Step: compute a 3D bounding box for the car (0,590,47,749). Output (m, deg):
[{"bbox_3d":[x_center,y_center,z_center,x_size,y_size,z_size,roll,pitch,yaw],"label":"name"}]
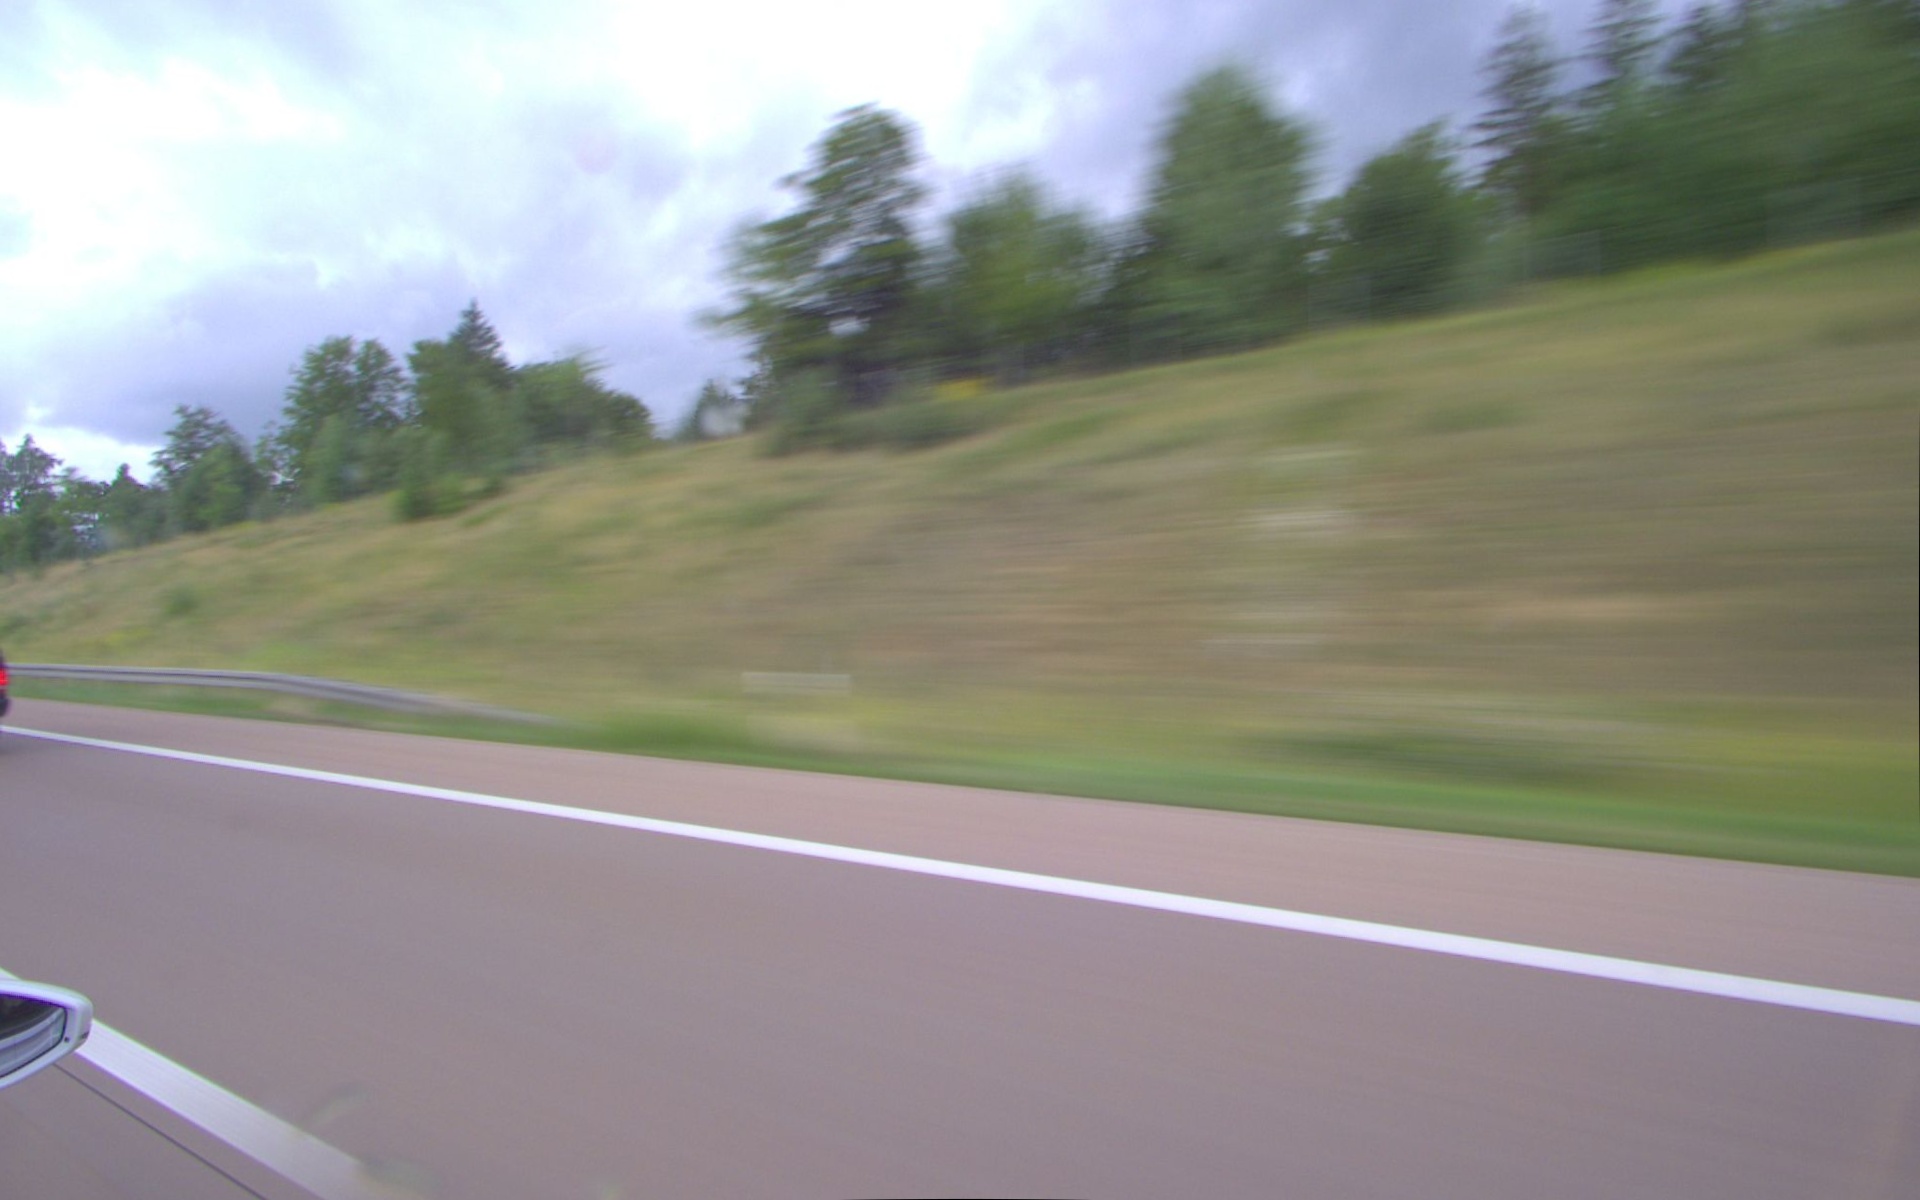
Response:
[{"bbox_3d":[-14.190,0.912,13.098,5.500,1.921,2.039,-2,-1,33],"label":"car"}]
